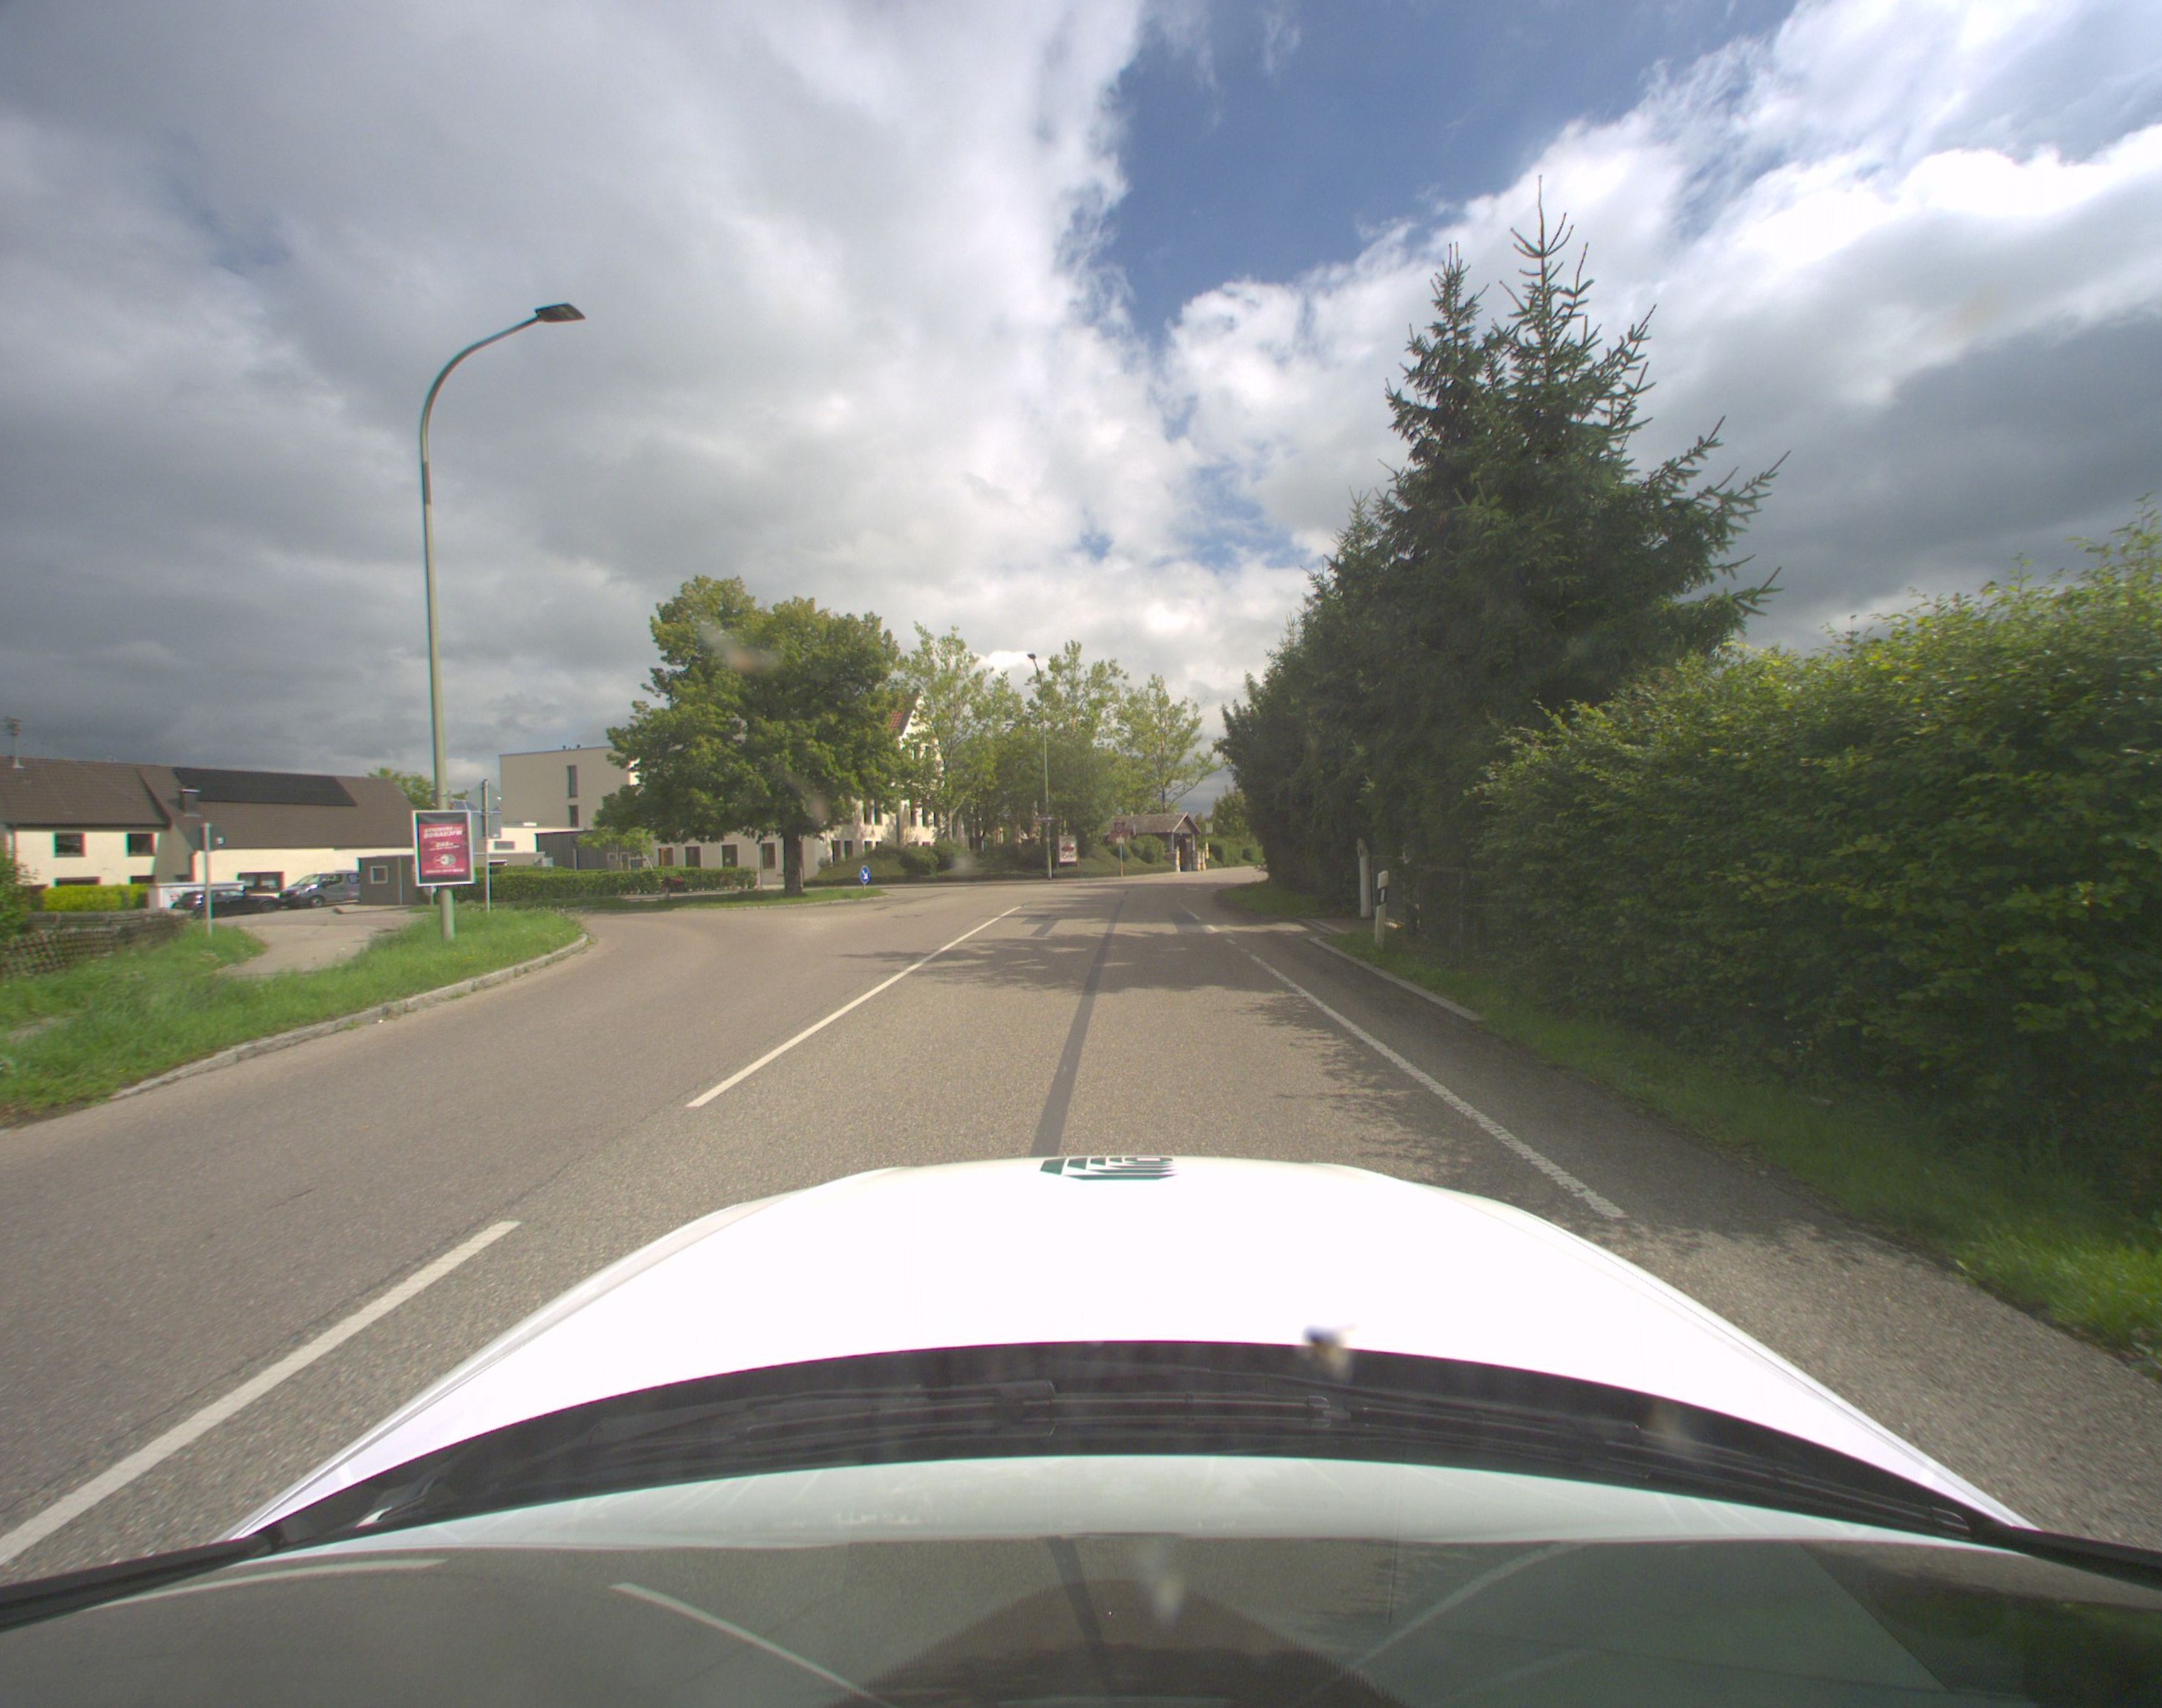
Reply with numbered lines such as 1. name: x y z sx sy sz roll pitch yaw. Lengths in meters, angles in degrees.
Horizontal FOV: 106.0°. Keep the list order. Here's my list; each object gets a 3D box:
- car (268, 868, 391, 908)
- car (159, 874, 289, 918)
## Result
1. car: -43.170 1.909 46.974 1.980 2.013 4.917 -2 0 12
2. car: -44.654 2.132 42.569 1.980 2.013 4.214 -2 0 12
